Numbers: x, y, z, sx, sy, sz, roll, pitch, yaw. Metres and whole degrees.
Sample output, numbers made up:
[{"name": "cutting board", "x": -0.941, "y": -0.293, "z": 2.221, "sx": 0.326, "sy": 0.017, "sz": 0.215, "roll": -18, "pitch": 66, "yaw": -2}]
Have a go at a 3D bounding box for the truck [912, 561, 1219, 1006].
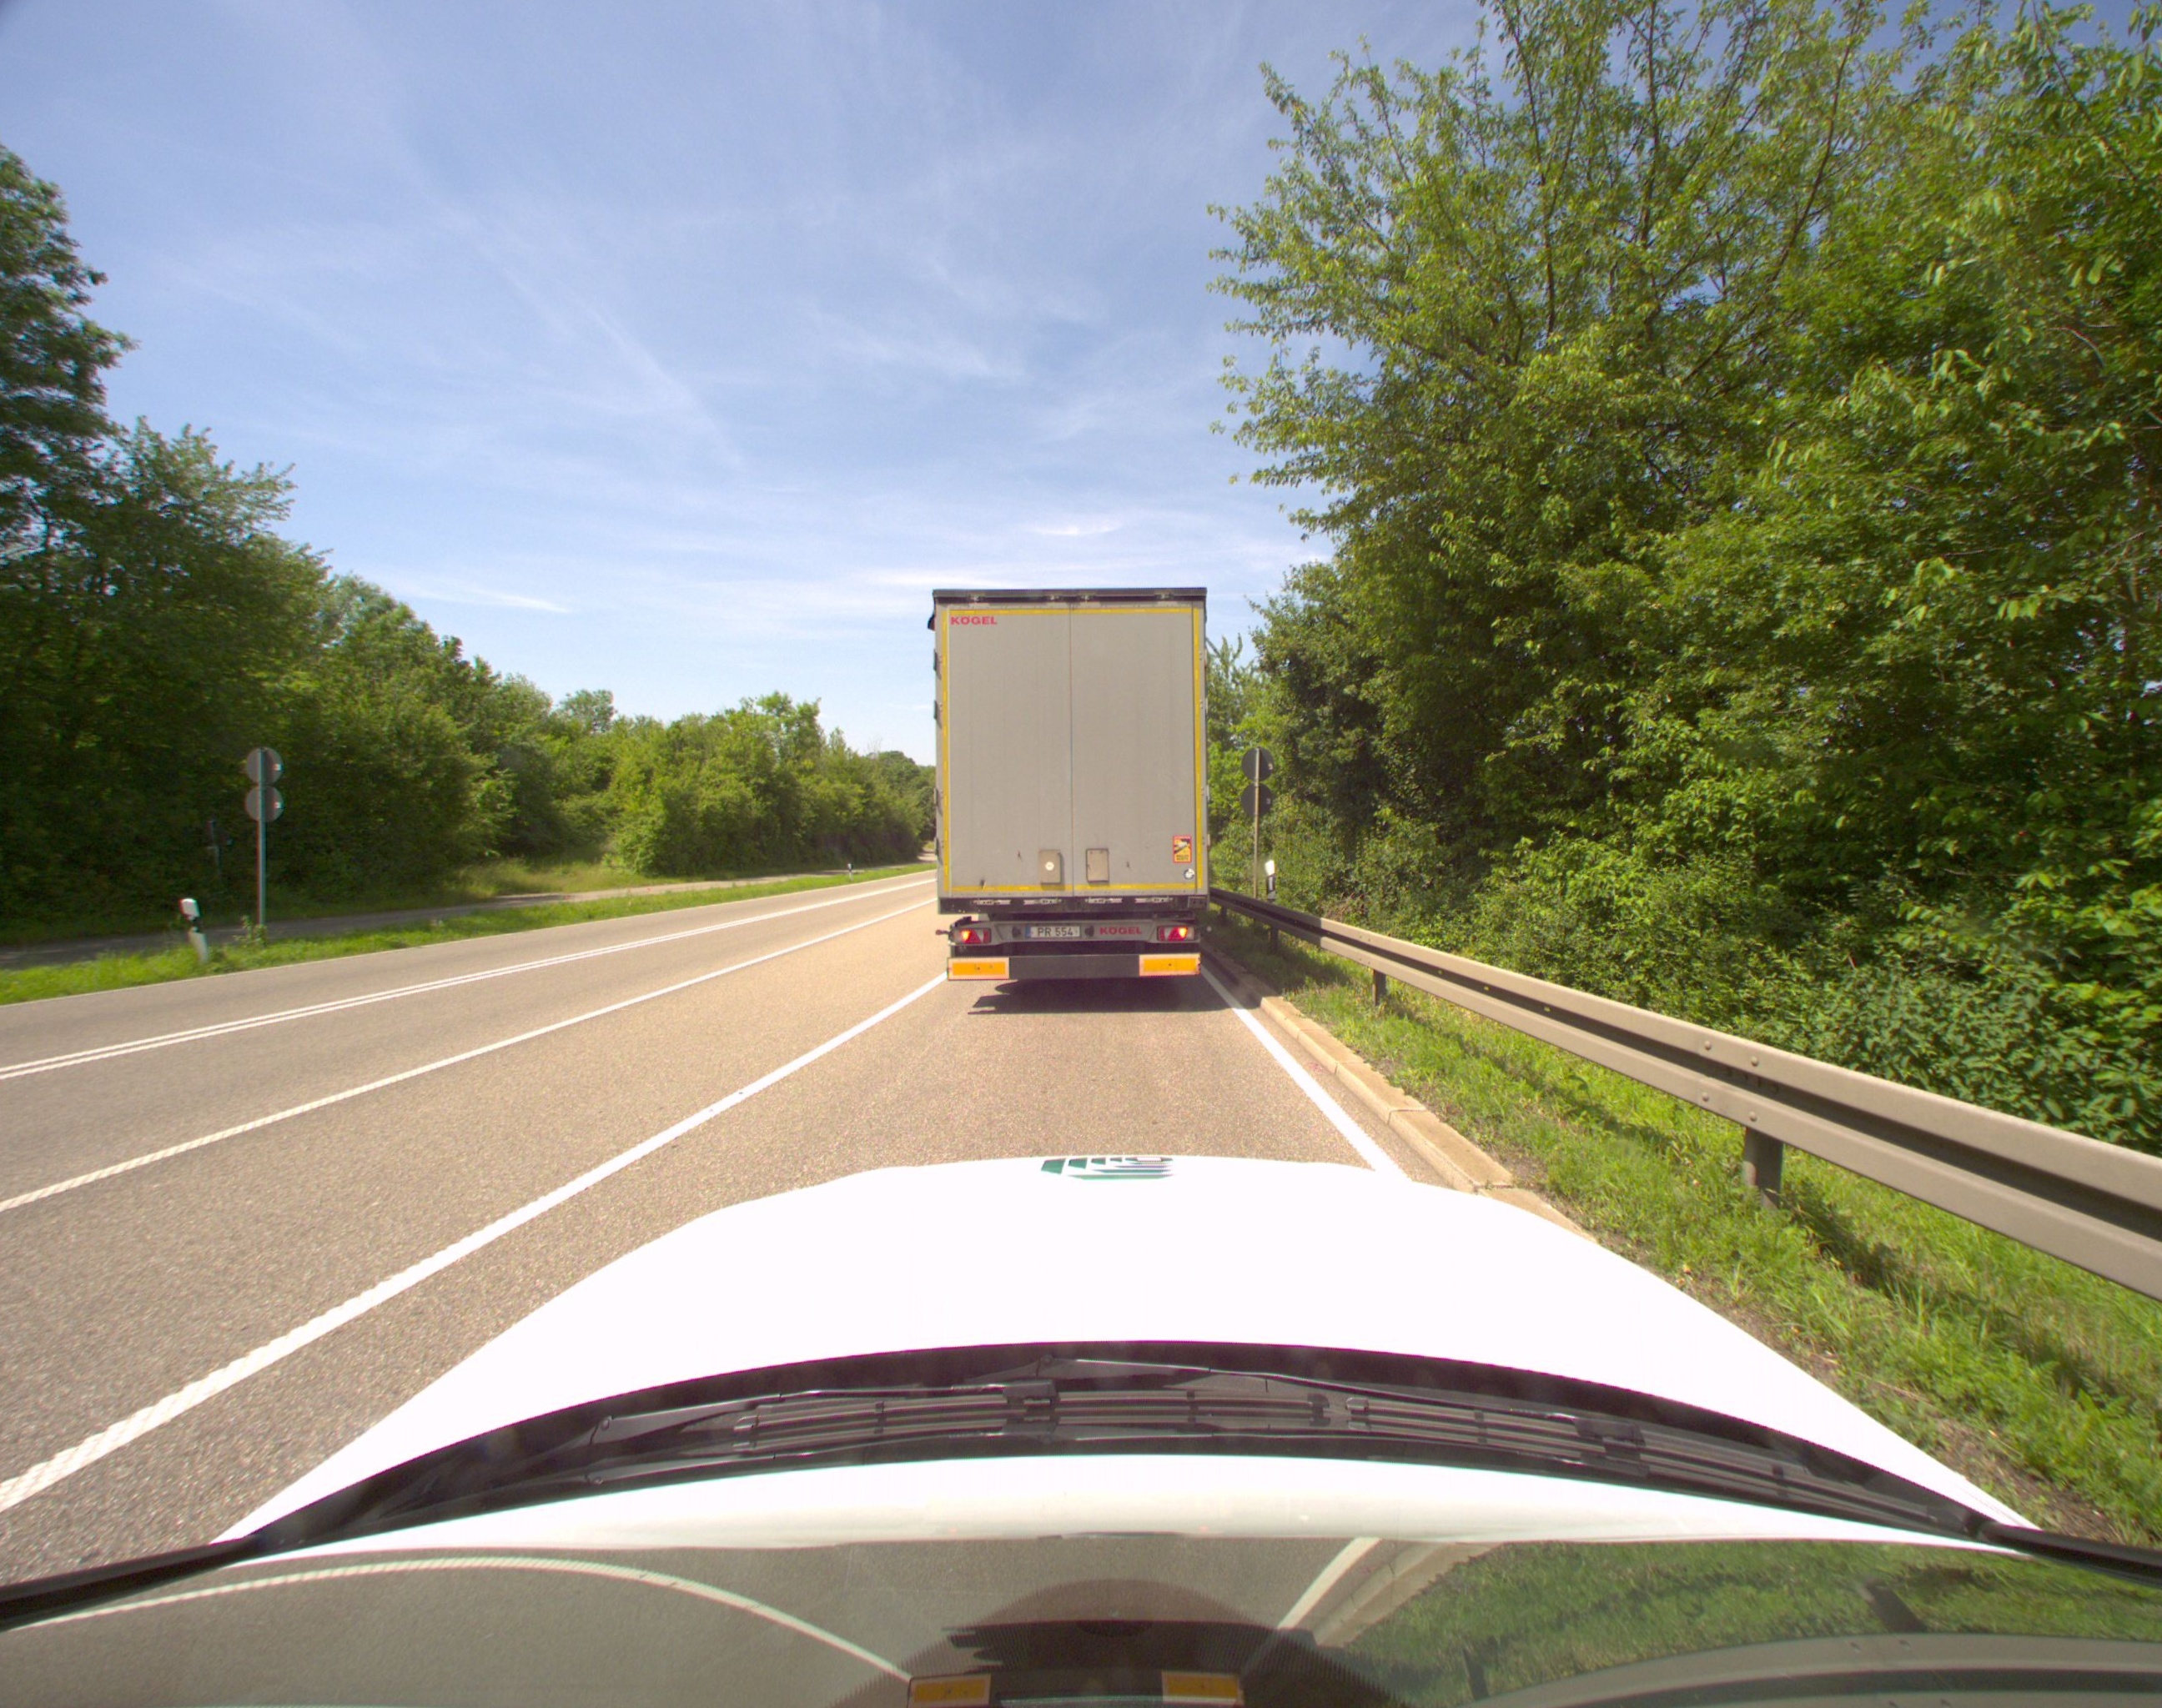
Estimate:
[{"name": "truck", "x": -0.021, "y": -0.682, "z": 13.404, "sx": 2.747, "sy": 4.029, "sz": 11.926, "roll": -1, "pitch": 0, "yaw": 1}]
